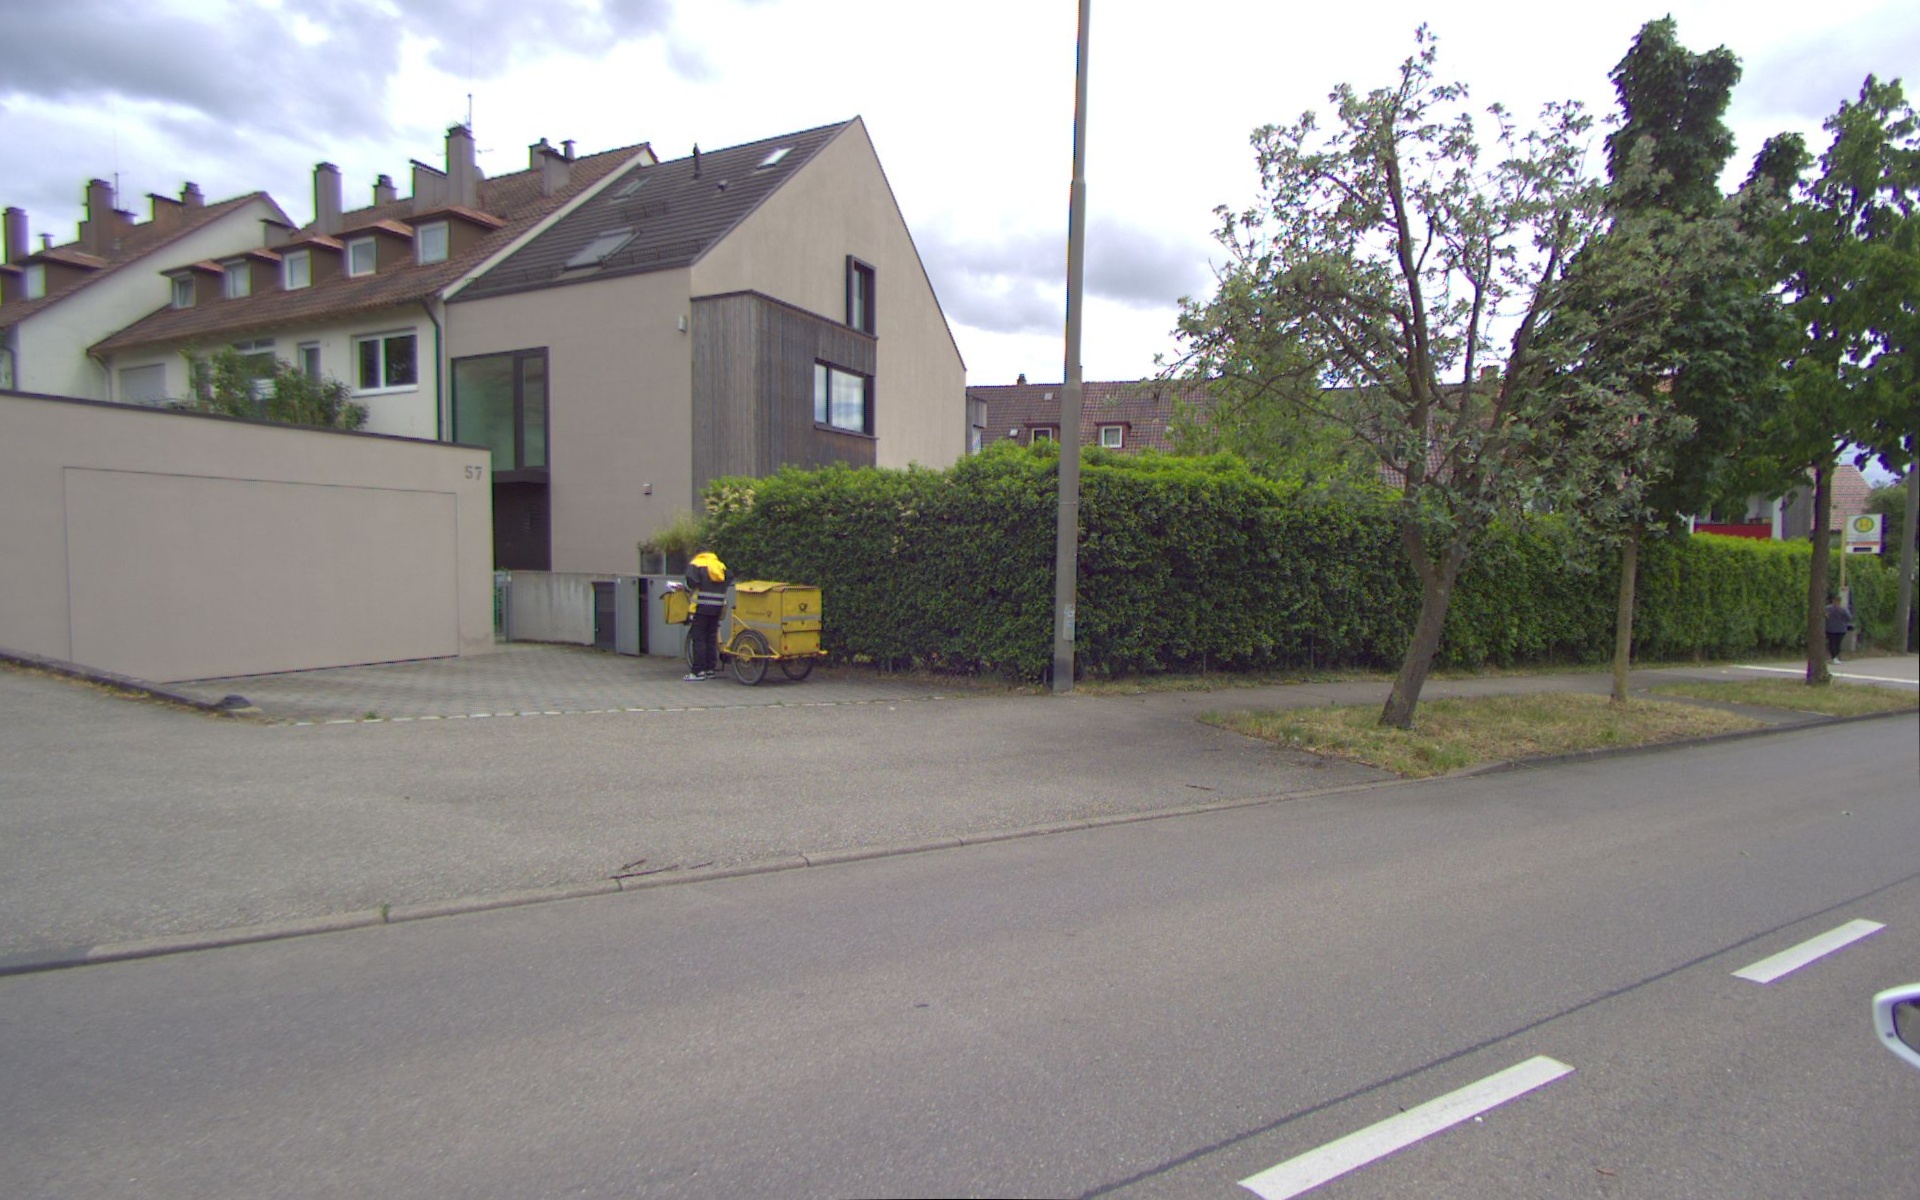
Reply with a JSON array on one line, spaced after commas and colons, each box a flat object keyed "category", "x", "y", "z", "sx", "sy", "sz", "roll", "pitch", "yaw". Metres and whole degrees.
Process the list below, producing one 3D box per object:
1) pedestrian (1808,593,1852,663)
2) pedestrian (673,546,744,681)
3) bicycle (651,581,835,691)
[{"category": "pedestrian", "x": 22.241, "y": 0.717, "z": 25.671, "sx": 0.772, "sy": 1.734, "sz": 0.686, "roll": 1, "pitch": 2, "yaw": -40}, {"category": "pedestrian", "x": -3.269, "y": 0.160, "z": 13.076, "sx": 0.632, "sy": 1.697, "sz": 0.600, "roll": 3, "pitch": 2, "yaw": 38}, {"category": "bicycle", "x": -2.848, "y": 0.414, "z": 12.982, "sx": 2.580, "sy": 1.221, "sz": 0.844, "roll": 3, "pitch": 2, "yaw": 37}]
